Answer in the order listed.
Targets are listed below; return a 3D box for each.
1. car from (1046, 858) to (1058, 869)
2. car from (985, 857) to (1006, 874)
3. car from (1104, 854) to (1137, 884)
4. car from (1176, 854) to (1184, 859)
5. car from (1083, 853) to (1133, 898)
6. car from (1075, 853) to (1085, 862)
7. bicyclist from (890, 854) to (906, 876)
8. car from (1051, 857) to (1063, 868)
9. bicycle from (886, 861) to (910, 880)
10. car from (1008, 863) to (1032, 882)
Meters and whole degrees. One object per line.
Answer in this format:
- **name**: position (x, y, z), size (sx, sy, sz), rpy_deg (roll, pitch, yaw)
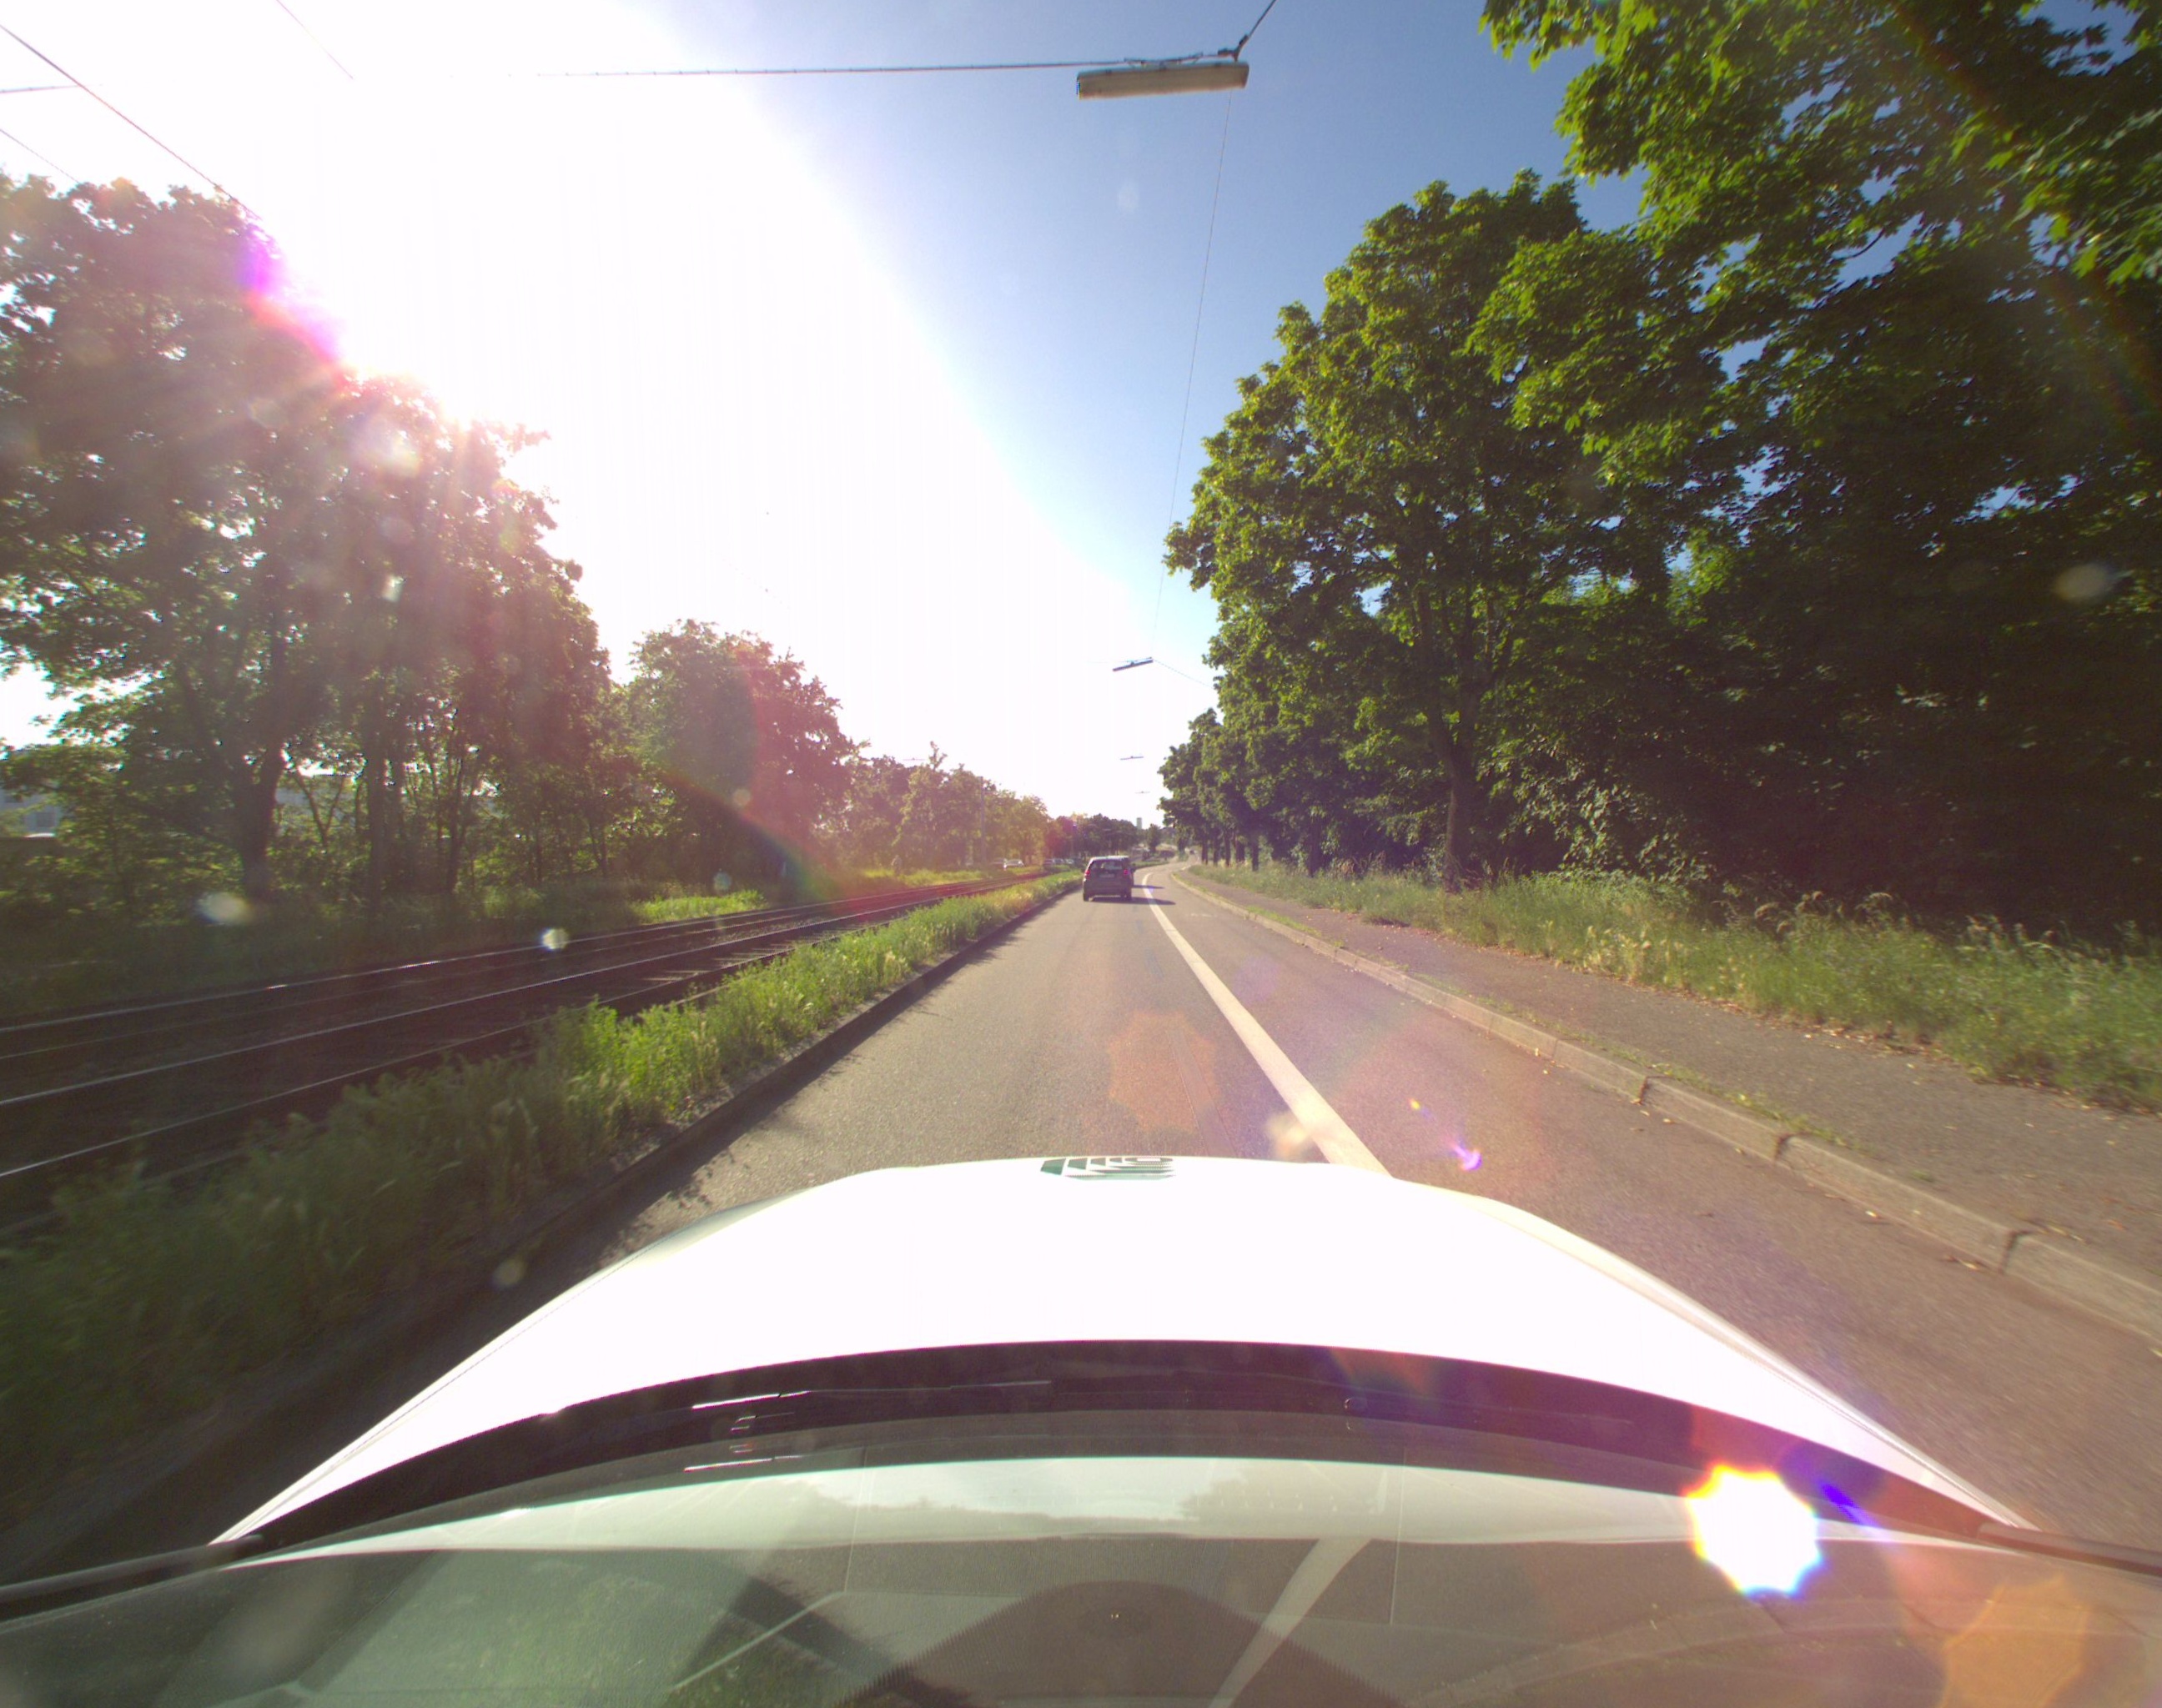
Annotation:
- **car**: position (-4.791, 1.577, 134.842), size (1.616, 1.551, 4.005), rpy_deg (0, 3, 4)
- **car**: position (-10.567, 1.459, 101.114), size (1.985, 1.875, 4.005), rpy_deg (0, 3, 4)
- **car**: position (2.051, 0.763, 42.943), size (1.648, 1.507, 3.812), rpy_deg (0, 0, 1)
- **car**: position (26.860, 0.674, 220.523), size (1.643, 1.313, 3.826), rpy_deg (1, 3, 13)
- **car**: position (0.960, 0.738, 29.186), size (1.664, 1.507, 3.812), rpy_deg (0, -1, 1)
- **car**: position (-0.269, 0.697, 159.280), size (1.693, 1.683, 4.005), rpy_deg (0, 3, 4)
- **bicyclist**: position (-12.982, 0.759, 57.752), size (0.786, 1.489, 1.110), rpy_deg (0, 2, 3)
- **car**: position (-4.070, 1.499, 141.306), size (1.693, 1.683, 4.005), rpy_deg (0, 3, 4)
- **bicycle**: position (-12.960, 1.150, 57.803), size (0.785, 1.195, 3.173), rpy_deg (0, 3, 4)
- **car**: position (-6.543, 1.978, 87.630), size (1.985, 1.716, 4.005), rpy_deg (0, 3, 4)
